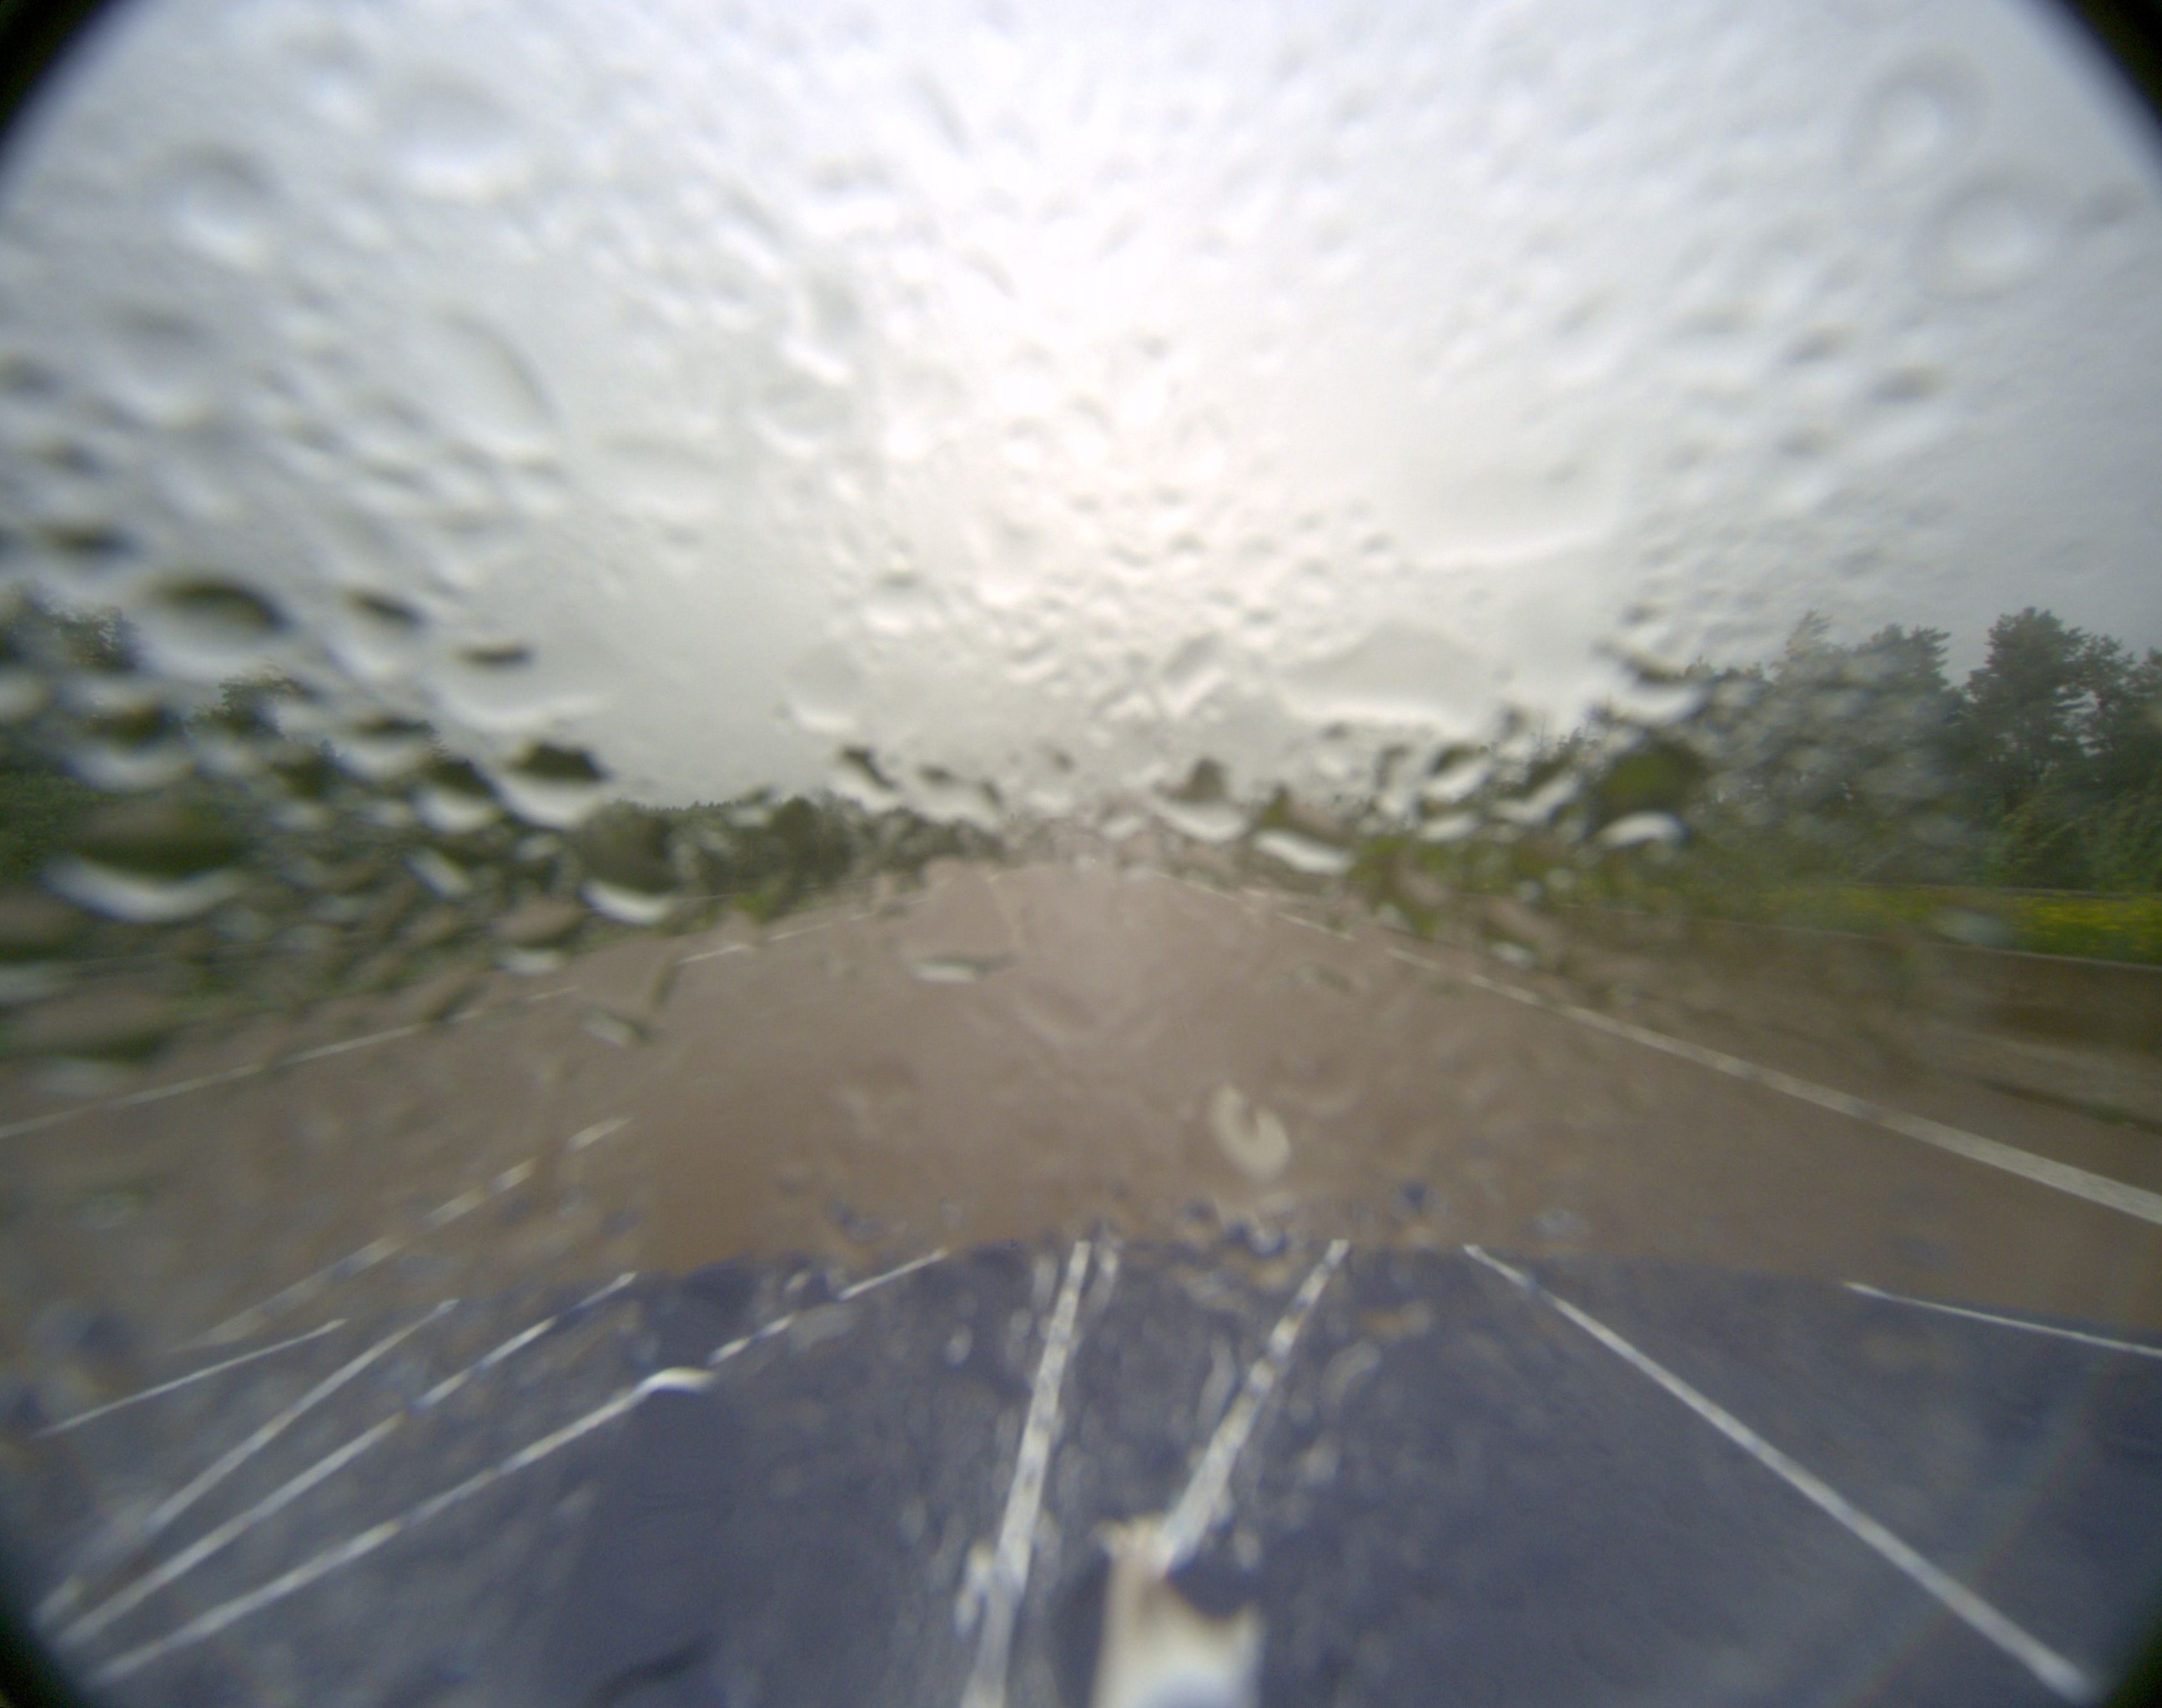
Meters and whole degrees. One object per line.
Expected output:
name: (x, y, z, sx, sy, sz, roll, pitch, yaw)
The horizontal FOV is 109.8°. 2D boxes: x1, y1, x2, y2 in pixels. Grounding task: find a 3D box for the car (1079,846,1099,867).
car: (0.823, 0.247, 80.147, 1.998, 2.002, 4.277, -2, 0, 1)
